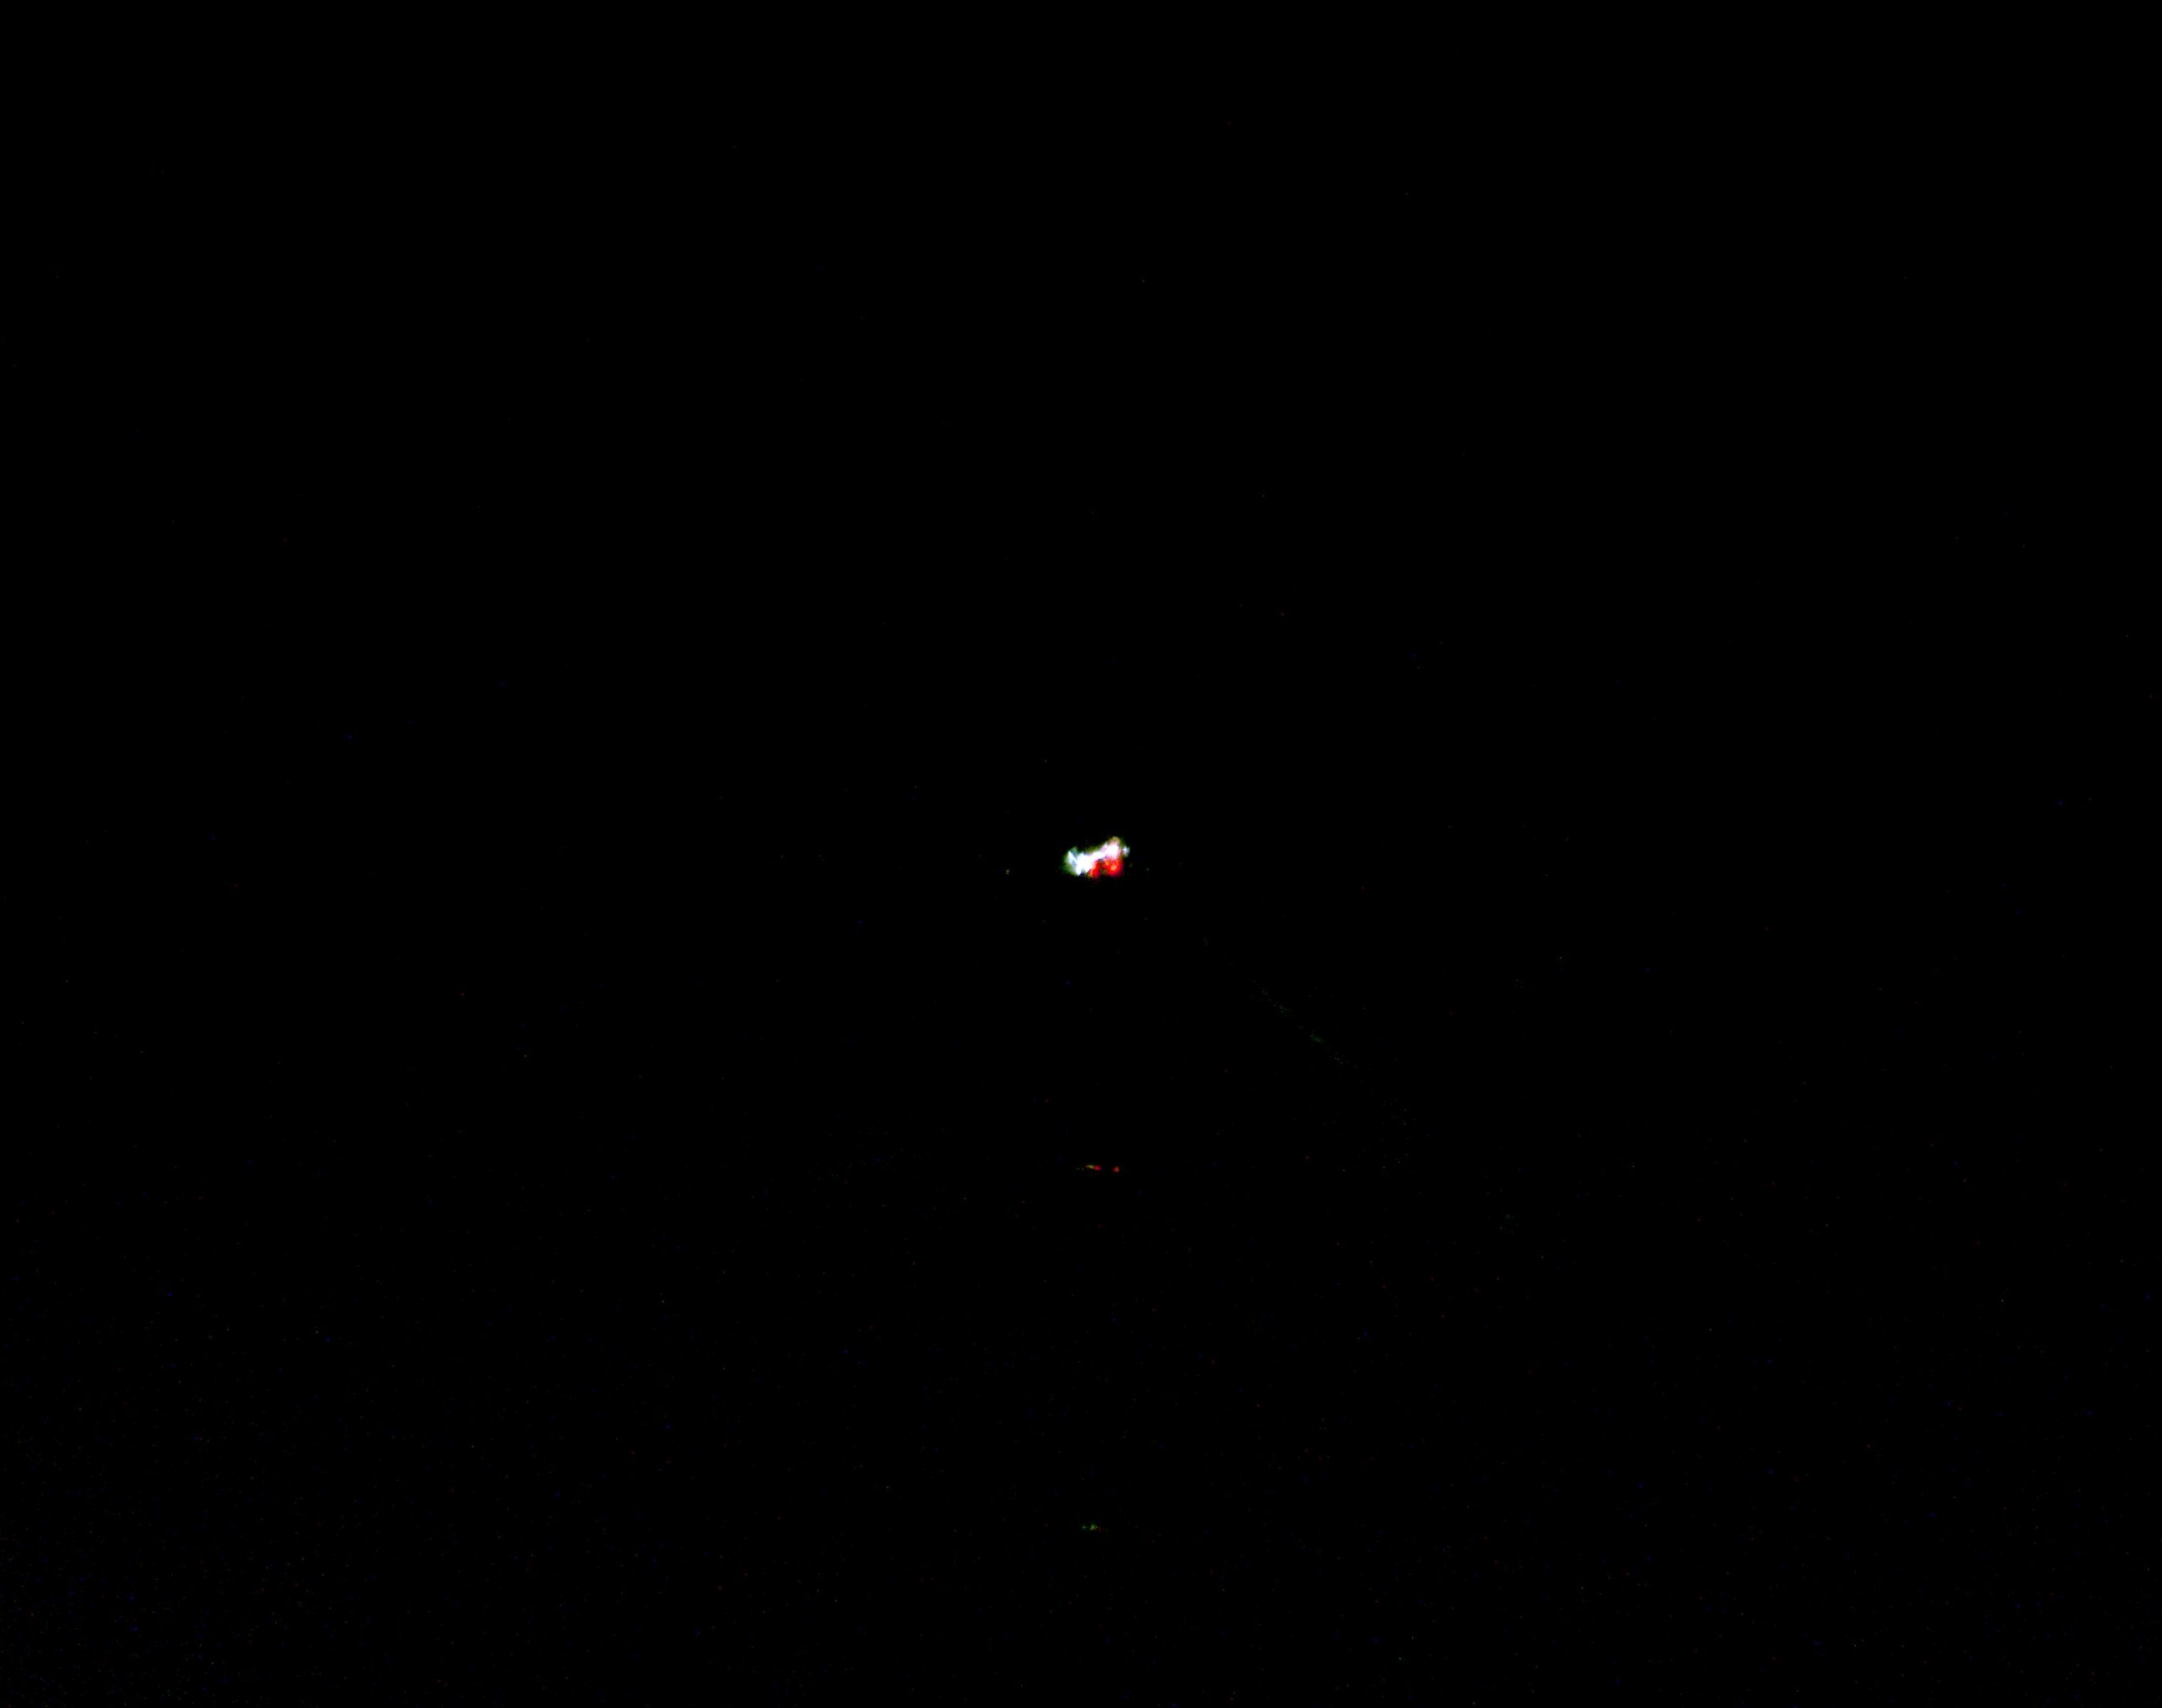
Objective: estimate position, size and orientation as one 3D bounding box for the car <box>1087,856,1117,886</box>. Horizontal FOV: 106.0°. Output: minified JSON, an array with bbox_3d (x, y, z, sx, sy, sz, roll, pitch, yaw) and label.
[{"bbox_3d":[1.326,1.026,51.587,1.836,1.740,4.001,0,1,1],"label":"car"}]
